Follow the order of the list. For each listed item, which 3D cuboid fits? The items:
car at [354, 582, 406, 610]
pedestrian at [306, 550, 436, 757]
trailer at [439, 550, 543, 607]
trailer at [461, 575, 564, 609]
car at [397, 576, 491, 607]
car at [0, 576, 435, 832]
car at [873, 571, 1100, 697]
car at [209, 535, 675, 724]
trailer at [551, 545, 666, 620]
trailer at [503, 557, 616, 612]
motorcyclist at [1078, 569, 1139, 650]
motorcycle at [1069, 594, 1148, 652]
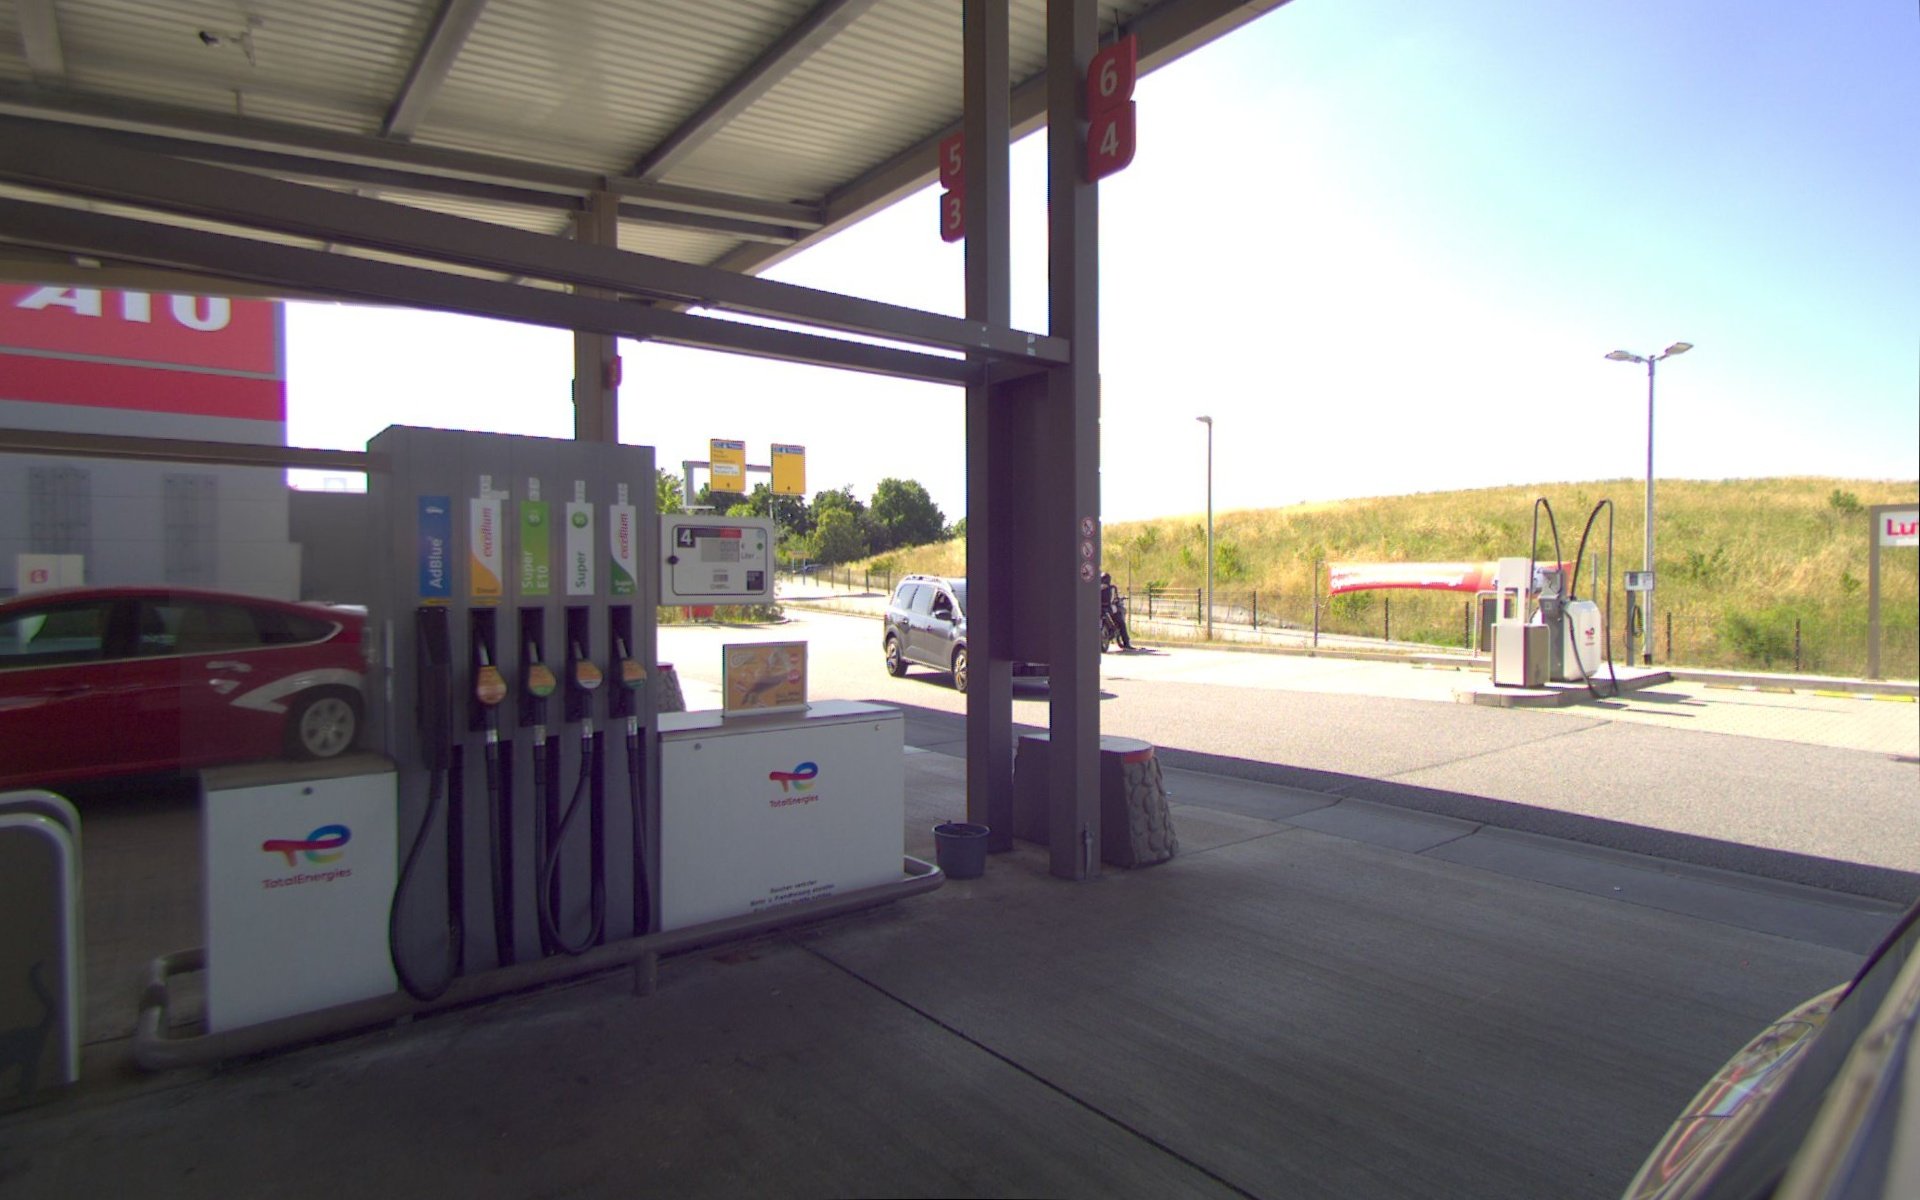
[{"bbox_3d":[-29.492,-0.207,51.429,1.652,1.334,3.831,0,1,-40],"label":"car"},{"bbox_3d":[-5.232,0.435,8.988,0.911,1.724,0.703,0,1,-38],"label":"pedestrian"},{"bbox_3d":[-21.030,-0.959,45.552,1.978,2.457,3.968,1,1,24],"label":"trailer"},{"bbox_3d":[-17.985,-0.353,40.820,1.563,1.297,3.685,1,1,26],"label":"trailer"},{"bbox_3d":[-23.596,-0.403,46.412,1.659,1.334,3.815,1,1,17],"label":"car"},{"bbox_3d":[-5.937,0.586,6.668,4.157,1.487,1.702,0,1,-39],"label":"car"},{"bbox_3d":[0.219,0.404,15.852,1.708,1.665,4.641,0,1,-24],"label":"car"},{"bbox_3d":[-6.130,0.291,12.286,4.711,1.874,2.032,1,1,-39],"label":"car"},{"bbox_3d":[-12.174,-0.613,35.303,1.970,2.457,3.984,1,1,13],"label":"trailer"},{"bbox_3d":[-15.699,-0.620,39.852,1.785,2.039,3.964,1,1,26],"label":"trailer"},{"bbox_3d":[3.235,0.182,21.943,1.024,1.709,1.089,1,1,27],"label":"motorcyclist"},{"bbox_3d":[3.263,0.460,22.002,1.035,1.119,2.394,1,2,26],"label":"motorcycle"}]
